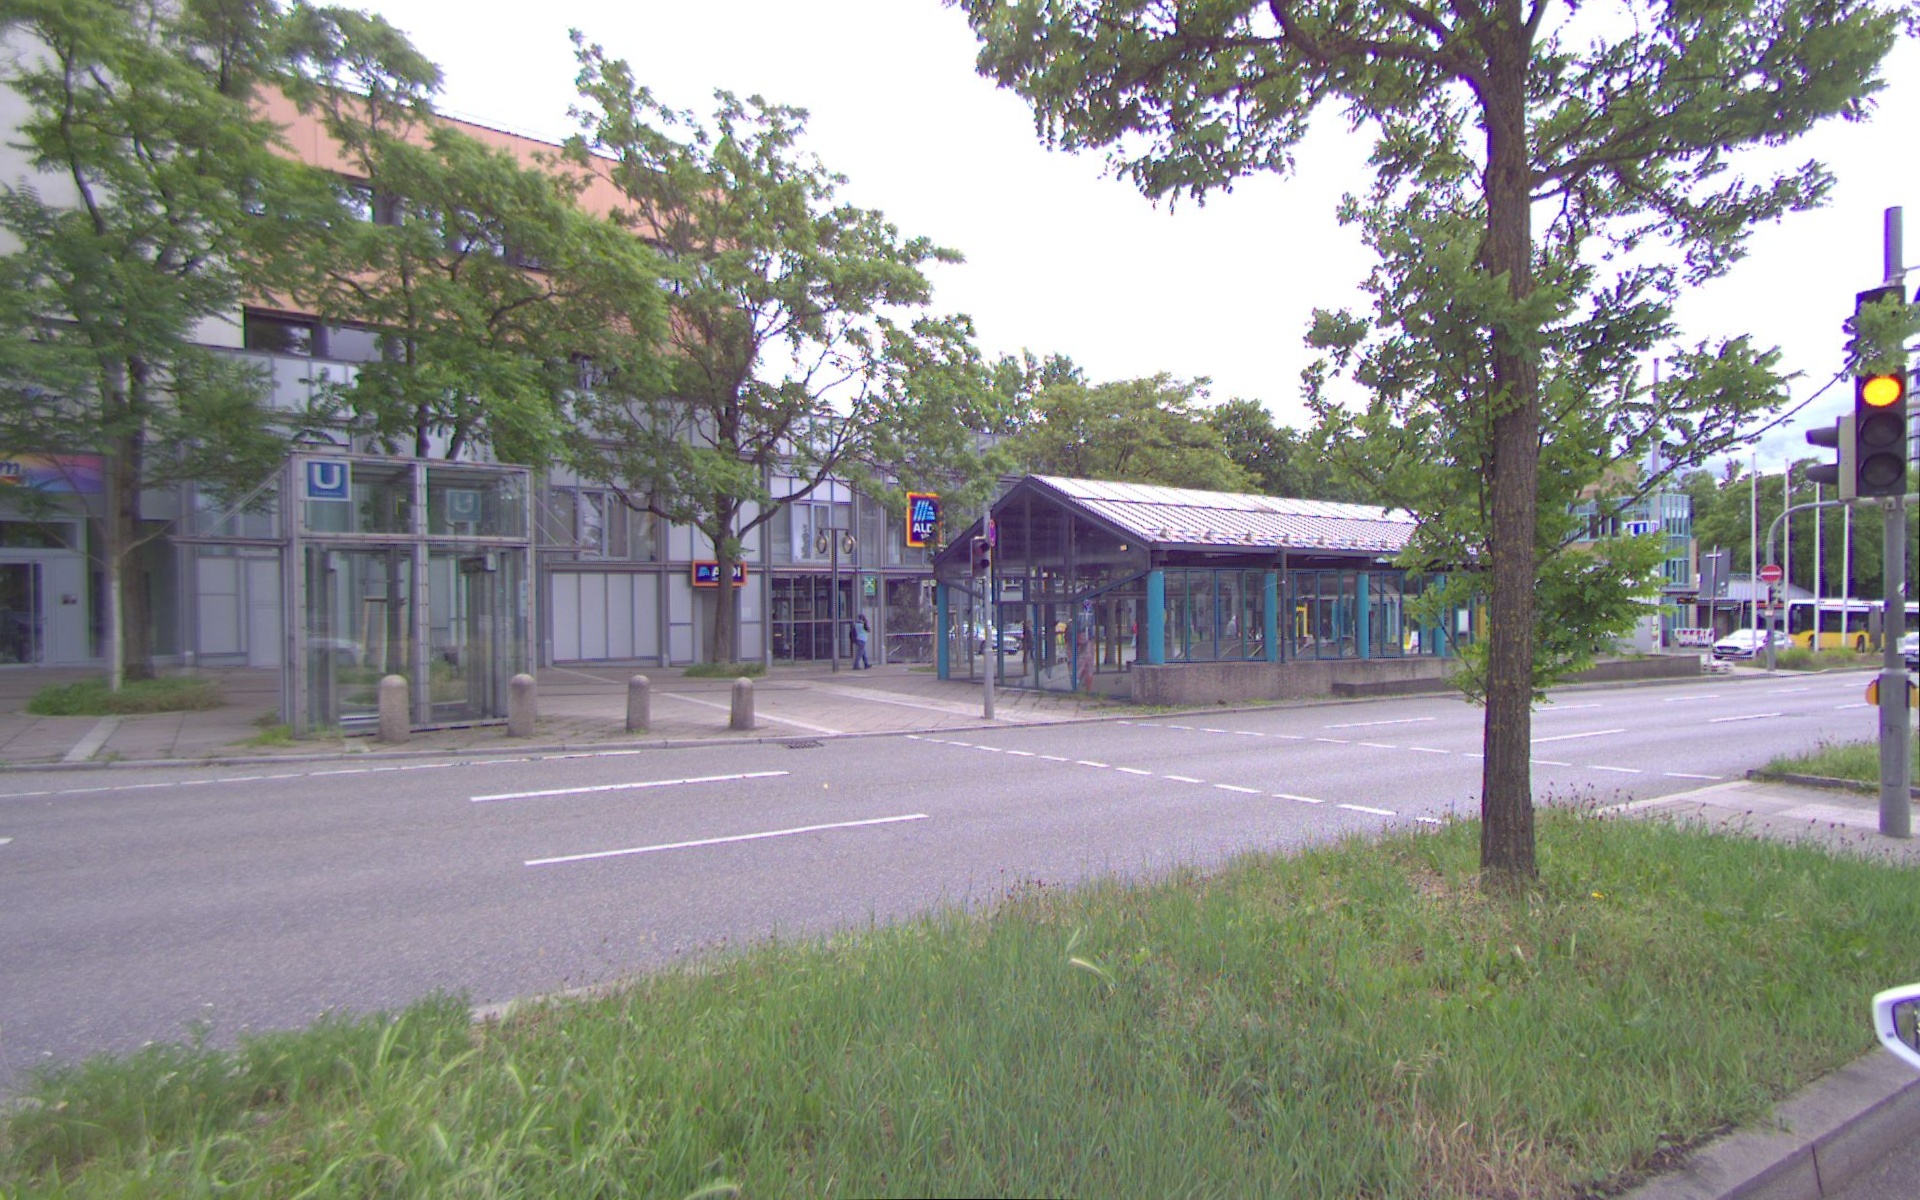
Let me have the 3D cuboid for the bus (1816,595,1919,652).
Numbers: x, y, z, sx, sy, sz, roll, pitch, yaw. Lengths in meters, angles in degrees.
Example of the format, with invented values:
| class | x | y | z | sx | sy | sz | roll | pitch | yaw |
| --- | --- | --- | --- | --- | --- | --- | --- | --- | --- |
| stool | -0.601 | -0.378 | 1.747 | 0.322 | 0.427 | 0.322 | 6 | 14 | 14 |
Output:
| class | x | y | z | sx | sy | sz | roll | pitch | yaw |
| --- | --- | --- | --- | --- | --- | --- | --- | --- | --- |
| bus | 59.546 | 1.577 | 64.653 | 10.592 | 3.476 | 2.822 | 1 | -1 | -26 |

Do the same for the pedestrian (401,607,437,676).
| class | x | y | z | sx | sy | sz | roll | pitch | yaw |
| --- | --- | --- | --- | --- | --- | --- | --- | --- | --- |
| pedestrian | -12.893 | 0.982 | 23.947 | 0.674 | 1.610 | 0.513 | 1 | -1 | -39 |

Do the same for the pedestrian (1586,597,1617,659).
| class | x | y | z | sx | sy | sz | roll | pitch | yaw |
| --- | --- | --- | --- | --- | --- | --- | --- | --- | --- |
| pedestrian | 21.484 | 0.941 | 33.654 | 0.639 | 2.040 | 0.677 | 1 | -1 | -34 |

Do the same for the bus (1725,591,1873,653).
| class | x | y | z | sx | sy | sz | roll | pitch | yaw |
| --- | --- | --- | --- | --- | --- | --- | --- | --- | --- |
| bus | 50.152 | 1.377 | 59.955 | 10.592 | 3.476 | 2.822 | 1 | -1 | -26 |

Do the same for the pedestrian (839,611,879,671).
| class | x | y | z | sx | sy | sz | roll | pitch | yaw |
| --- | --- | --- | --- | --- | --- | --- | --- | --- | --- |
| pedestrian | -3.023 | 1.218 | 30.019 | 0.879 | 1.739 | 0.764 | 1 | 2 | -39 |

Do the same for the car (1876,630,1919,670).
| class | x | y | z | sx | sy | sz | roll | pitch | yaw |
| --- | --- | --- | --- | --- | --- | --- | --- | --- | --- |
| car | 37.867 | 1.947 | 39.325 | 3.955 | 1.505 | 1.983 | 1 | -1 | -32 |

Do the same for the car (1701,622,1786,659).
| class | x | y | z | sx | sy | sz | roll | pitch | yaw |
| --- | --- | --- | --- | --- | --- | --- | --- | --- | --- |
| car | 37.146 | 1.925 | 47.618 | 3.951 | 1.684 | 1.798 | 1 | -1 | -29 |

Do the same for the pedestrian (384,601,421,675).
| class | x | y | z | sx | sy | sz | roll | pitch | yaw |
| --- | --- | --- | --- | --- | --- | --- | --- | --- | --- |
| pedestrian | -13.460 | 0.914 | 24.250 | 0.674 | 1.750 | 0.560 | 1 | -1 | -39 |
